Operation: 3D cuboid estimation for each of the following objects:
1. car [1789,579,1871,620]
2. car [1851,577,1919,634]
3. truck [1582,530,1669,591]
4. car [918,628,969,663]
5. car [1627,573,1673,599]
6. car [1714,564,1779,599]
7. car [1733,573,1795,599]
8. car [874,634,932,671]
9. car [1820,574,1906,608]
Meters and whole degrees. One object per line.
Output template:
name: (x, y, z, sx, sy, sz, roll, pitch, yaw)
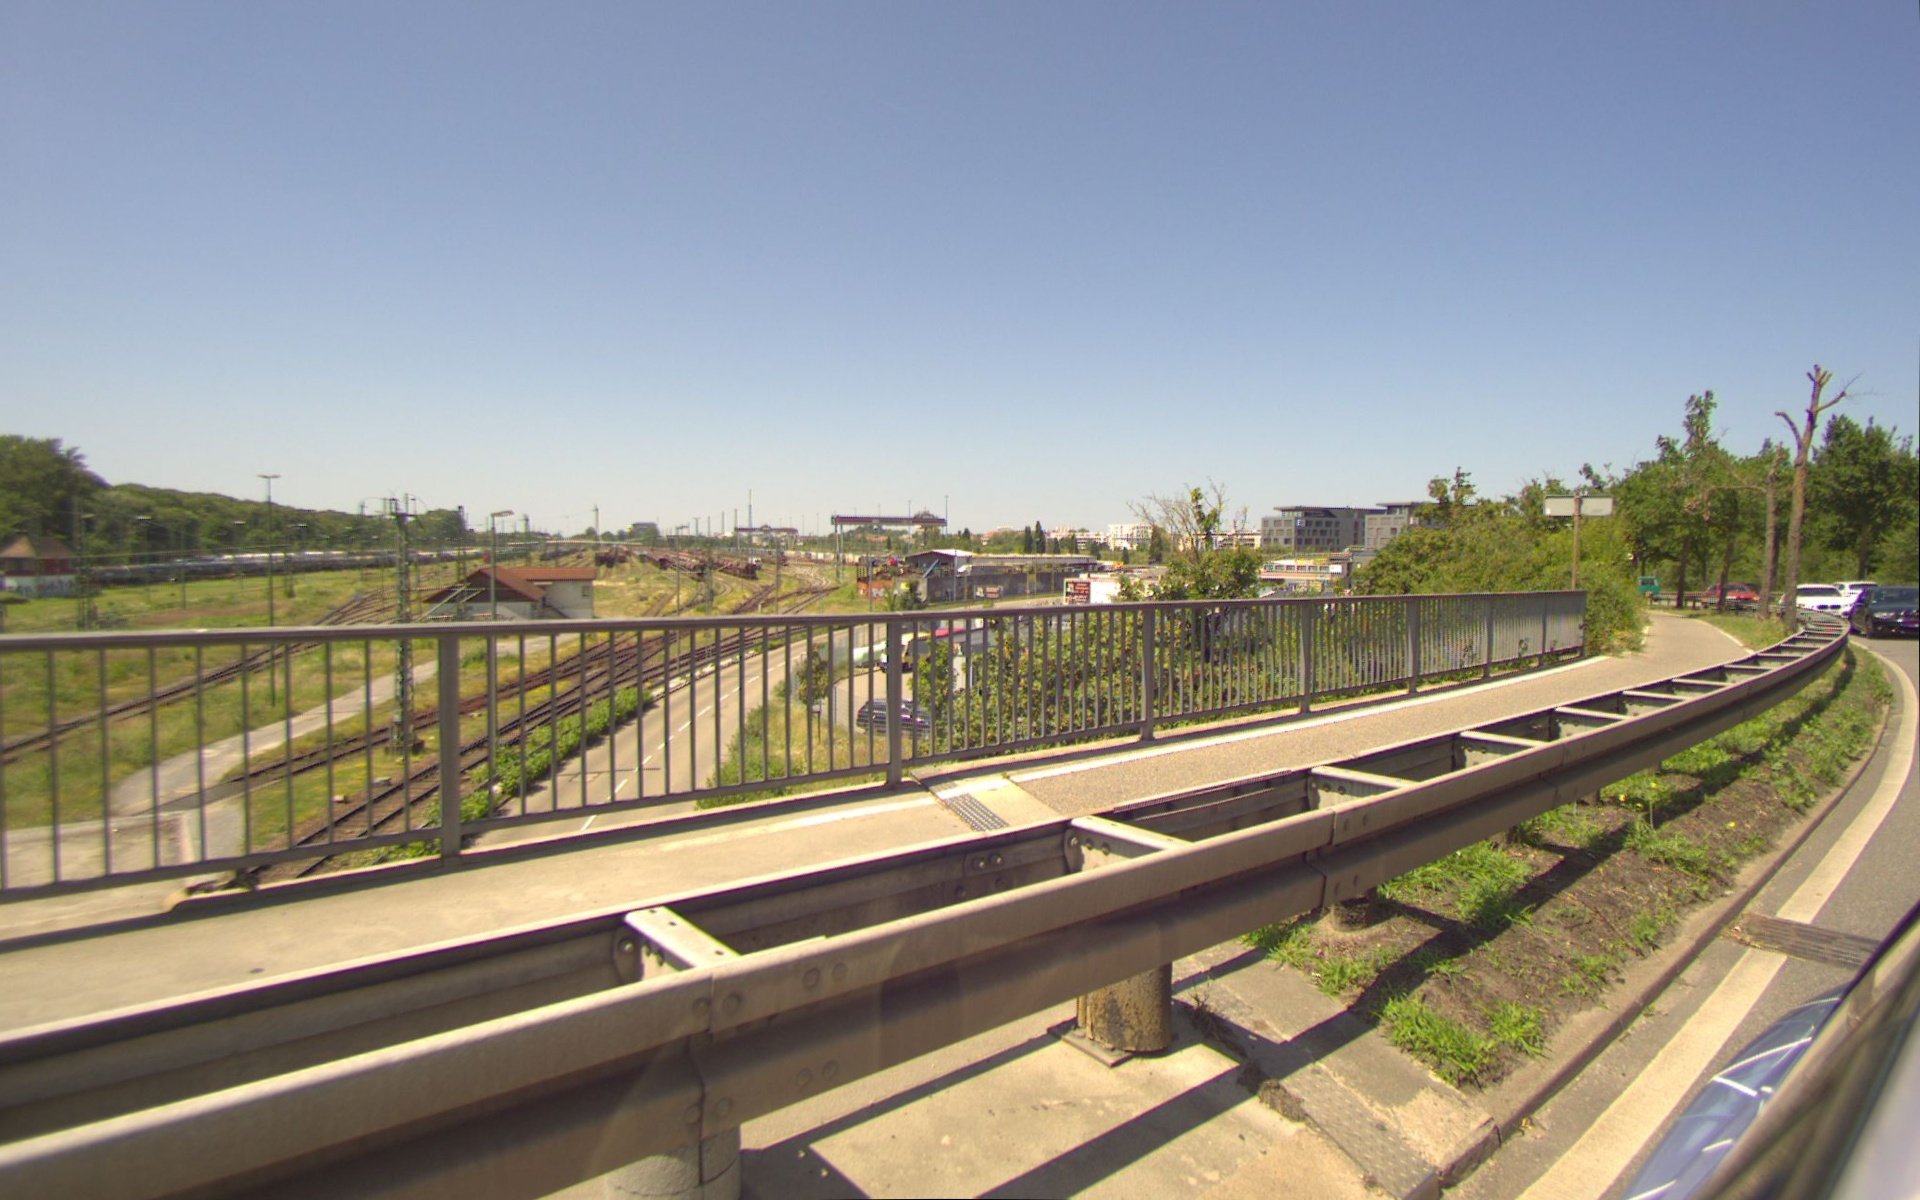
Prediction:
car: (32.678, -0.042, 38.098, 1.804, 1.446, 3.673, -1, 1, 32)
car: (25.628, 0.111, 27.396, 1.558, 1.434, 4.076, -1, 1, 32)
truck: (50.420, -2.901, 76.970, 2.818, 4.322, 8.775, -1, 1, 15)
car: (-1.261, 3.589, 80.666, 2.129, 2.382, 4.888, -5, -2, 24)
car: (55.257, -1.129, 81.137, 1.813, 1.963, 4.746, 0, 1, 19)
car: (41.369, -1.015, 53.304, 1.883, 1.674, 4.221, 0, 2, 27)
car: (49.262, -0.871, 62.105, 1.832, 1.486, 4.702, -1, 1, 24)
car: (-4.158, 3.806, 74.399, 2.129, 2.382, 4.887, -5, -2, 24)
car: (42.078, -0.435, 47.285, 1.688, 1.465, 4.424, -1, 0, 24)
